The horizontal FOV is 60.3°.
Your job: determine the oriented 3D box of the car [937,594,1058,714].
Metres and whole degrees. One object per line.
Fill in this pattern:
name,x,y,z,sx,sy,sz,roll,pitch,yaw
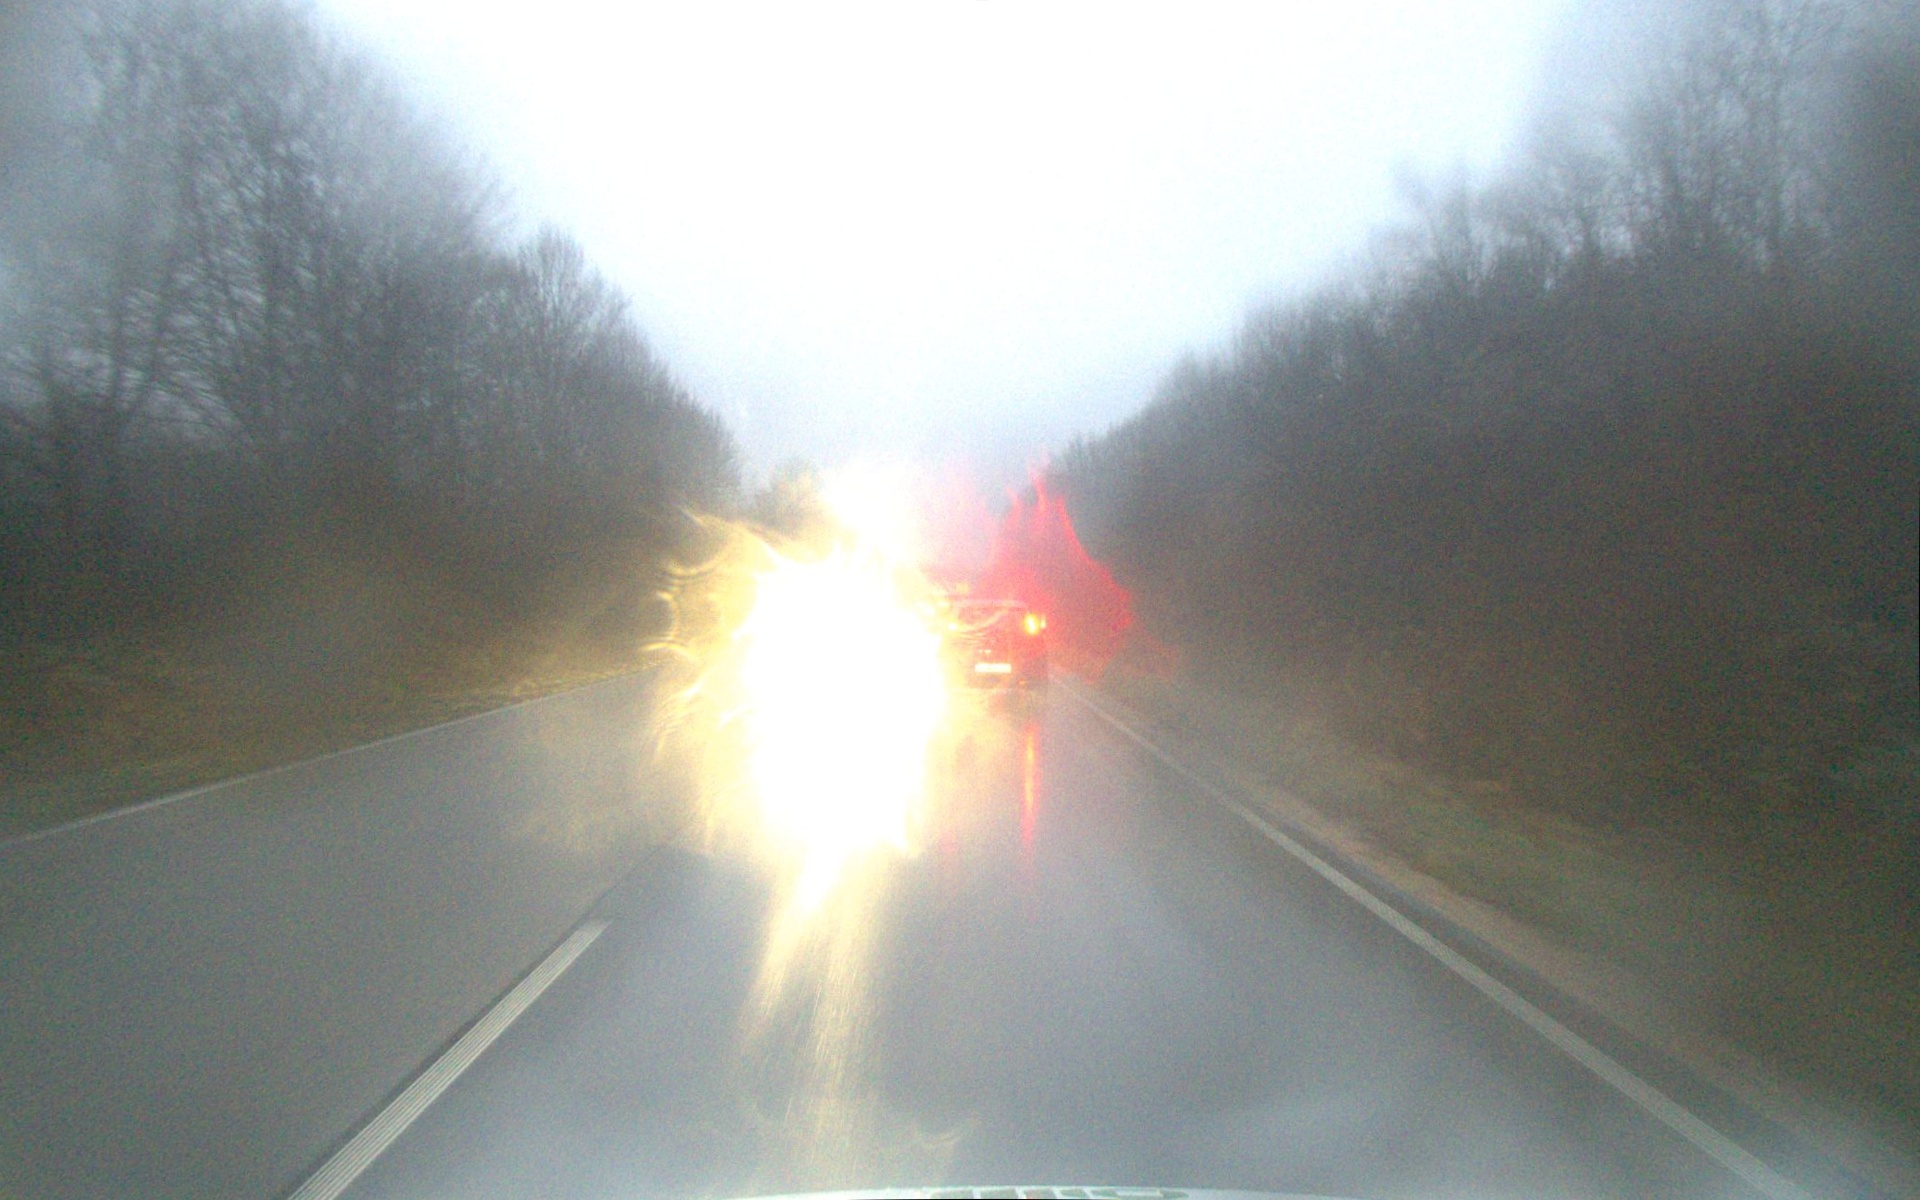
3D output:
car,0.548,0.770,25.373,1.692,1.672,4.000,1,0,0

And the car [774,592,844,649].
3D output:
car,-4.558,0.588,50.545,1.834,1.635,4.195,1,0,-1

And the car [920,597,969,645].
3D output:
car,-0.538,0.739,60.702,1.692,1.672,4.000,1,0,0
